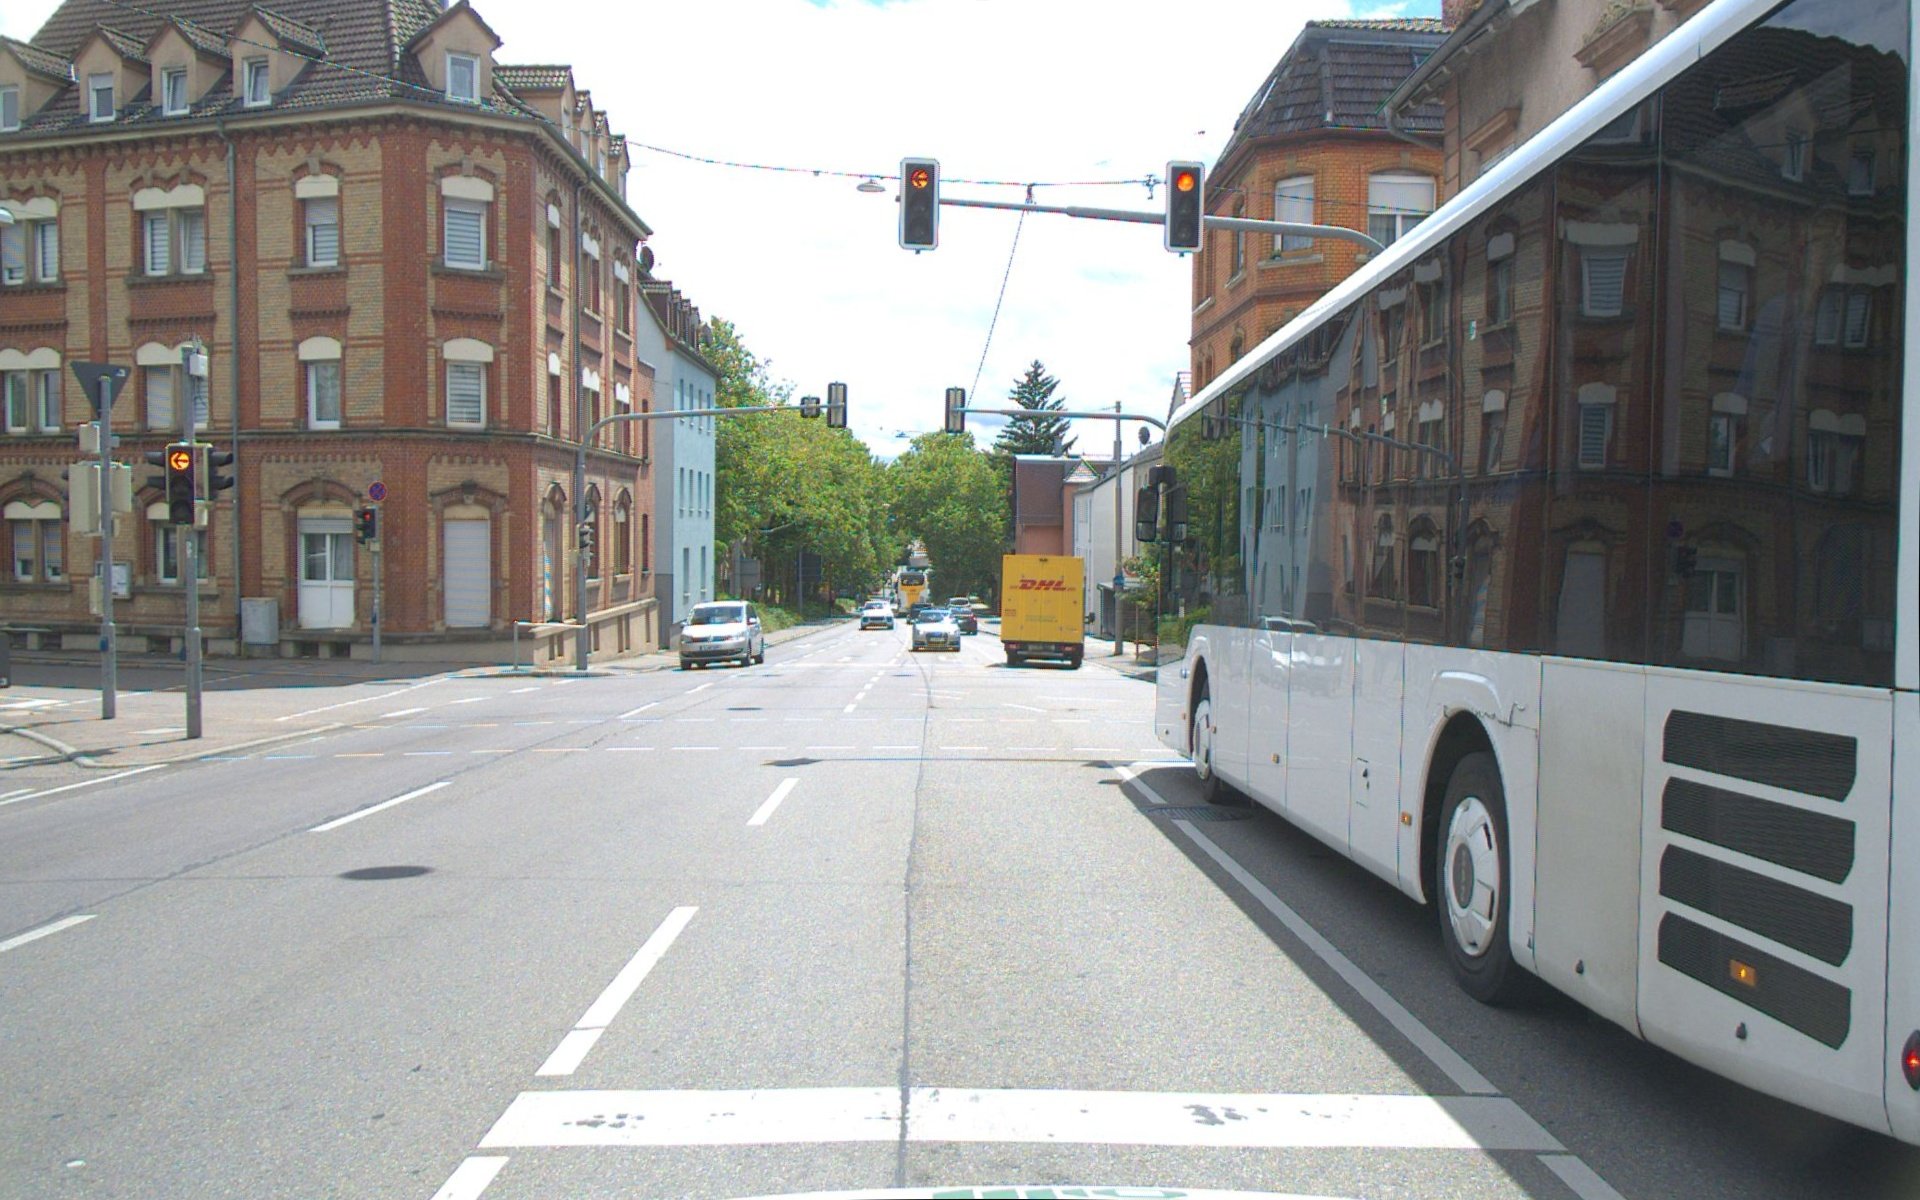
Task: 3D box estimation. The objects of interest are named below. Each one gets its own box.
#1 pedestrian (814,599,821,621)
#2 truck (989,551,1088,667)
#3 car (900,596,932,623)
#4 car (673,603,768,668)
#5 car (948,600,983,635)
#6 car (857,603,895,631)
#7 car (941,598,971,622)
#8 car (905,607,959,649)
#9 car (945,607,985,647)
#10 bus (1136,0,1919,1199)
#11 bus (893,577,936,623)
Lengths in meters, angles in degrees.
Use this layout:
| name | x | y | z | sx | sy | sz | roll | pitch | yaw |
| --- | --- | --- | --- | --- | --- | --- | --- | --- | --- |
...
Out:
| name | x | y | z | sx | sy | sz | roll | pitch | yaw |
| --- | --- | --- | --- | --- | --- | --- | --- | --- | --- |
| pedestrian | -11.747 | 0.850 | 136.345 | 0.594 | 1.789 | 0.653 | 0 | 0 | -2 |
| truck | 2.264 | 0.244 | 45.900 | 2.487 | 2.964 | 6.576 | 1 | 0 | 5 |
| car | -3.098 | 0.646 | 114.894 | 2.050 | 1.862 | 4.139 | 0 | 0 | -4 |
| car | -6.192 | 0.892 | 43.220 | 1.896 | 1.591 | 4.388 | 0 | 0 | -1 |
| car | 0.277 | 0.894 | 88.756 | 1.782 | 1.816 | 3.999 | 0 | 0 | -1 |
| car | -5.107 | 1.029 | 100.947 | 2.162 | 1.641 | 4.546 | 0 | 0 | -1 |
| car | -0.327 | 0.772 | 129.604 | 2.050 | 1.862 | 4.139 | 0 | 0 | -4 |
| car | -0.970 | 0.946 | 58.174 | 1.827 | 1.391 | 4.546 | 0 | 0 | -1 |
| car | 0.233 | 1.406 | 88.883 | 1.954 | 2.049 | 3.998 | 0 | 0 | -3 |
| bus | 3.189 | -0.336 | 9.307 | 2.845 | 3.571 | 12.484 | 1 | 0 | -1 |
| bus | -3.920 | 0.008 | 140.259 | 3.235 | 3.694 | 11.237 | -1 | 0 | -3 |
